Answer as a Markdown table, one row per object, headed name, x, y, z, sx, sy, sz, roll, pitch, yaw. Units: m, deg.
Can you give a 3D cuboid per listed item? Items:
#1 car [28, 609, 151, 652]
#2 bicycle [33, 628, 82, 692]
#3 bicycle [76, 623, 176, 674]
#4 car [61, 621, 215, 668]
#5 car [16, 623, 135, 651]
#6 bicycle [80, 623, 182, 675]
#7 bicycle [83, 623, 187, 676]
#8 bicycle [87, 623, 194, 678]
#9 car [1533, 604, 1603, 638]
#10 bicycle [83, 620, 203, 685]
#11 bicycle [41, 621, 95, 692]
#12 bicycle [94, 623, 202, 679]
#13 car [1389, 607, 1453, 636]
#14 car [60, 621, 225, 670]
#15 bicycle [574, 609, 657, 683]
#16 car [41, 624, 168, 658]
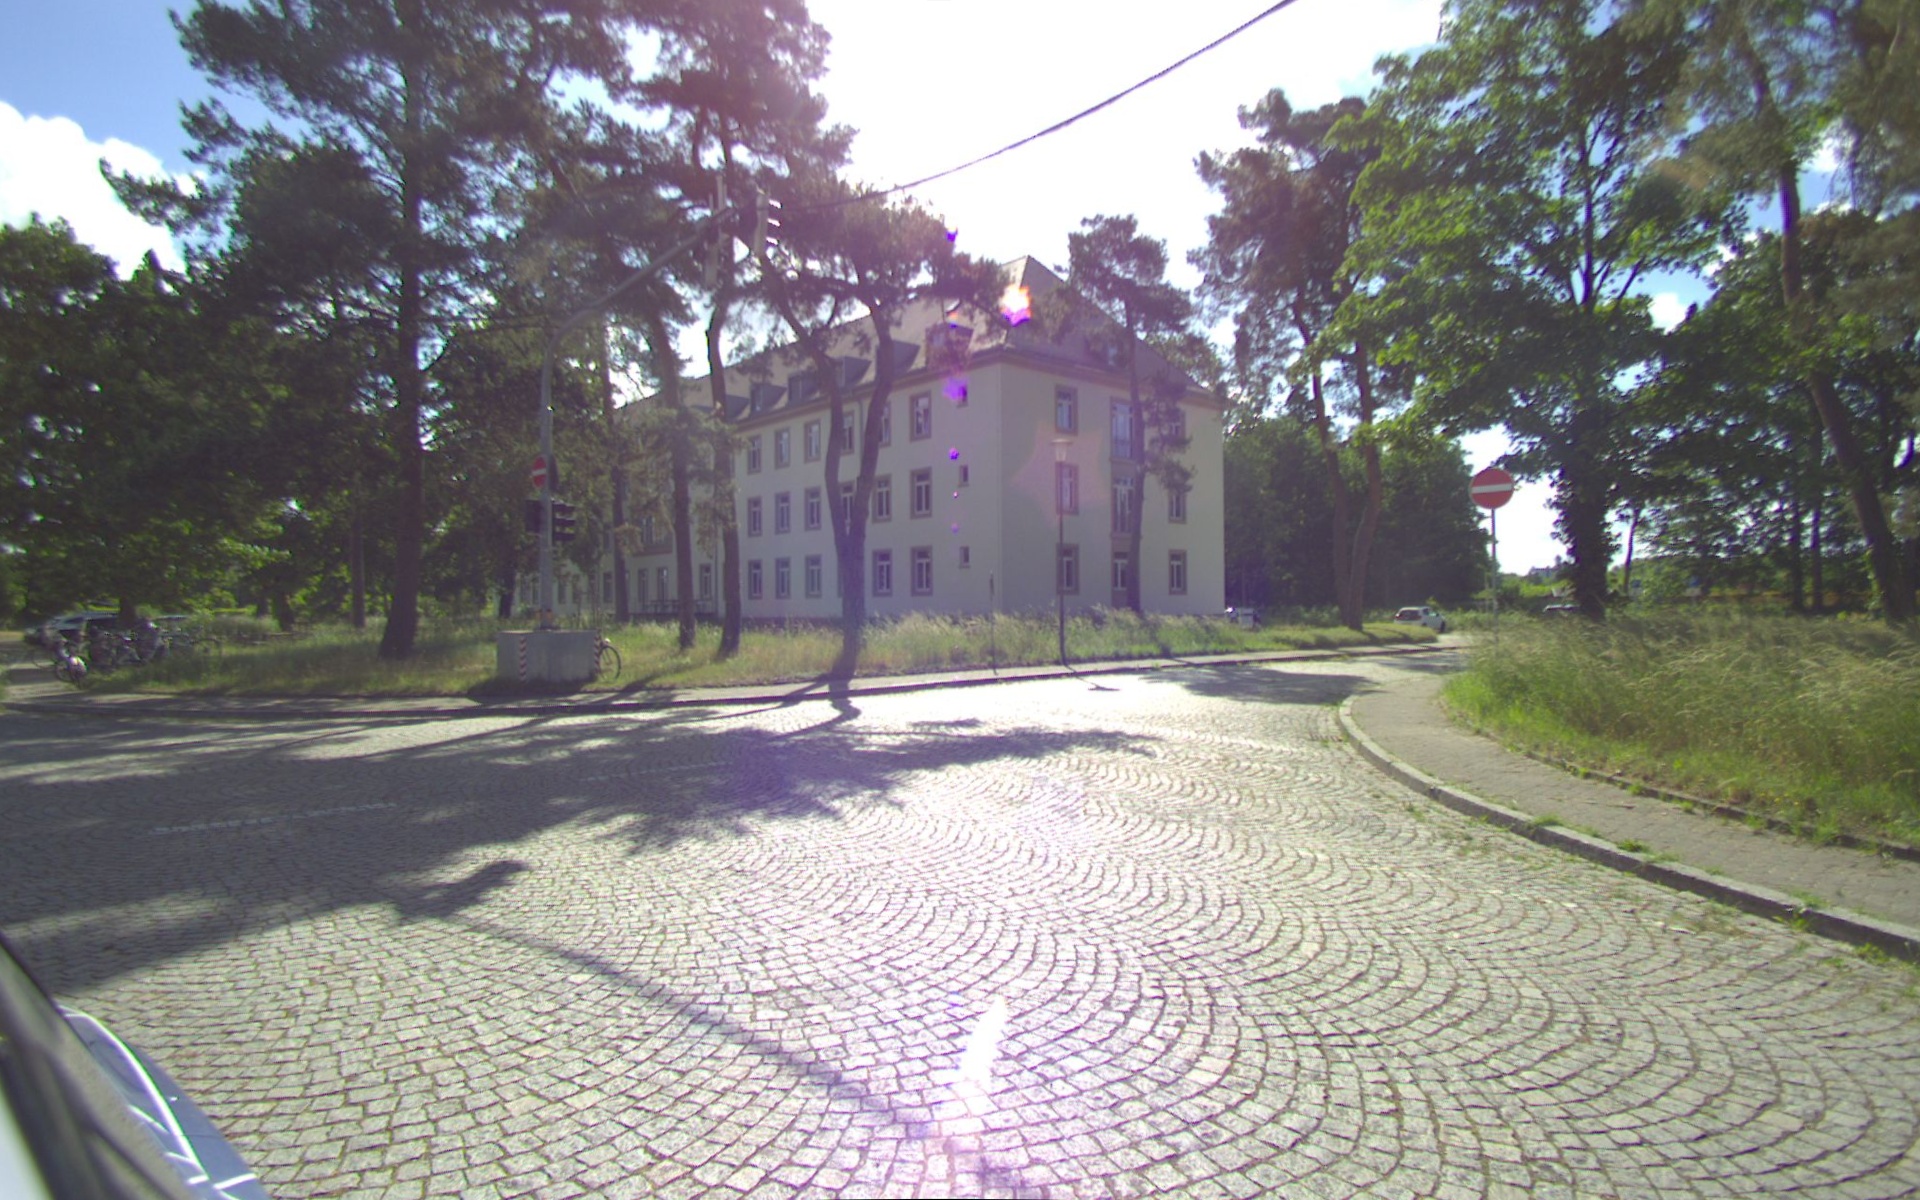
| name | x | y | z | sx | sy | sz | roll | pitch | yaw |
| --- | --- | --- | --- | --- | --- | --- | --- | --- | --- |
| car | -41.378 | 1.409 | 48.172 | 1.815 | 1.928 | 4.172 | -1 | -1 | 38 |
| bicycle | -20.013 | 1.299 | 22.425 | 2.115 | 1.293 | 0.612 | -1 | 1 | 44 |
| bicycle | -23.483 | 1.335 | 28.528 | 0.621 | 1.293 | 2.085 | -1 | 1 | 43 |
| car | -29.069 | 1.520 | 35.878 | 1.816 | 1.534 | 3.991 | -1 | -1 | 40 |
| car | -43.825 | 1.814 | 50.201 | 1.815 | 1.311 | 4.172 | -1 | -1 | 38 |
| bicycle | -22.872 | 1.319 | 27.943 | 0.621 | 1.293 | 2.085 | -1 | 1 | 43 |
| bicycle | -22.230 | 1.309 | 27.304 | 0.621 | 1.293 | 2.085 | -1 | 1 | 43 |
| bicycle | -21.613 | 1.303 | 26.723 | 0.621 | 1.293 | 2.086 | -1 | 1 | 42 |
| car | 30.611 | 1.058 | 50.908 | 3.996 | 1.642 | 1.843 | 1 | -2 | -40 |
| bicycle | -19.633 | 1.226 | 24.358 | 0.622 | 1.293 | 2.085 | -1 | 4 | 45 |
| bicycle | -18.445 | 1.133 | 20.911 | 2.115 | 1.360 | 0.612 | -1 | 1 | 44 |
| bicycle | -20.974 | 1.284 | 26.184 | 0.621 | 1.293 | 2.086 | -1 | 1 | 41 |
| car | 25.937 | 1.203 | 56.936 | 4.044 | 1.593 | 1.723 | 1 | -1 | -41 |
| car | -27.072 | 1.459 | 33.601 | 1.816 | 1.513 | 3.991 | -1 | -1 | 40 |
| bicycle | -6.575 | 0.853 | 19.258 | 0.612 | 1.293 | 2.117 | -4 | 2 | -44 |
| car | -37.332 | 1.748 | 44.229 | 1.817 | 1.374 | 3.990 | -1 | -1 | 41 |
